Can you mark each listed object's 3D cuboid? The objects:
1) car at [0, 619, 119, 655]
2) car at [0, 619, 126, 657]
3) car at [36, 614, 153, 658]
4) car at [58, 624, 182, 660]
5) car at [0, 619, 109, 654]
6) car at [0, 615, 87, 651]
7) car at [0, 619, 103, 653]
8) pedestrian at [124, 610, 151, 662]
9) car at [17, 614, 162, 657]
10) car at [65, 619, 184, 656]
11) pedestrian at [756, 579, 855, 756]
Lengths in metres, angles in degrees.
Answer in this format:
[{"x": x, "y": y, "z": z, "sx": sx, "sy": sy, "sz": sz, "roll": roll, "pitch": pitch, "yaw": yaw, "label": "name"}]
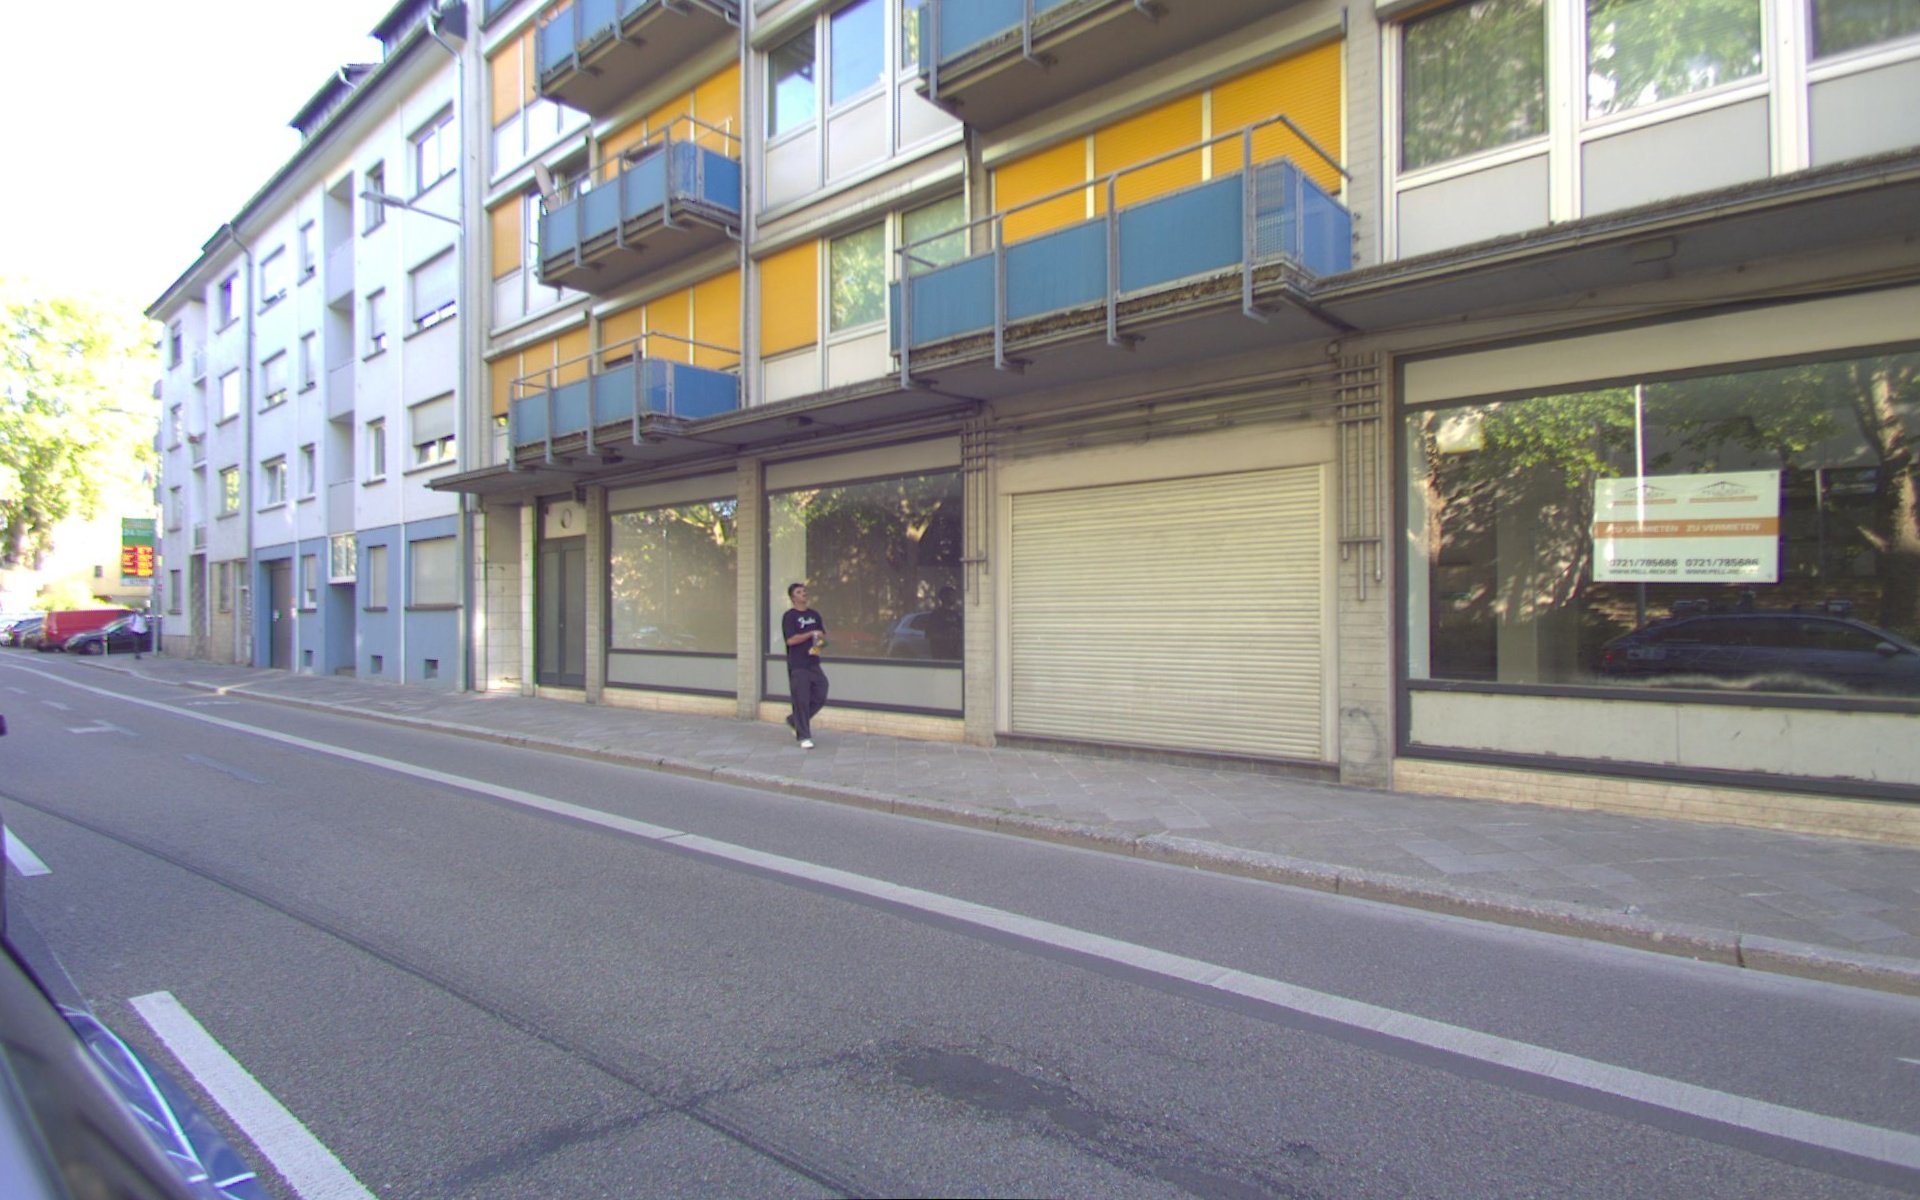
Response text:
[{"x": -52.230, "y": 2.108, "z": 58.721, "sx": 2.159, "sy": 1.952, "sz": 4.990, "roll": -1, "pitch": -1, "yaw": 41, "label": "car"}, {"x": -50.291, "y": 2.085, "z": 56.833, "sx": 2.186, "sy": 1.952, "sz": 5.077, "roll": -1, "pitch": -1, "yaw": 41, "label": "car"}, {"x": -40.584, "y": 1.633, "z": 47.519, "sx": 1.866, "sy": 1.952, "sz": 3.946, "roll": -1, "pitch": -1, "yaw": 41, "label": "car"}, {"x": -36.547, "y": 1.787, "z": 44.080, "sx": 1.742, "sy": 1.431, "sz": 3.946, "roll": -1, "pitch": -1, "yaw": 41, "label": "car"}, {"x": -54.116, "y": 2.129, "z": 60.358, "sx": 2.082, "sy": 1.952, "sz": 4.928, "roll": -1, "pitch": -1, "yaw": 41, "label": "car"}, {"x": -59.338, "y": 2.096, "z": 64.716, "sx": 2.186, "sy": 2.164, "sz": 5.077, "roll": -1, "pitch": -1, "yaw": 41, "label": "car"}, {"x": -55.964, "y": 2.157, "z": 61.989, "sx": 2.314, "sy": 1.952, "sz": 4.978, "roll": -1, "pitch": -1, "yaw": 41, "label": "car"}, {"x": -28.506, "y": 1.240, "z": 35.074, "sx": 0.756, "sy": 1.760, "sz": 0.600, "roll": -1, "pitch": 0, "yaw": 41, "label": "pedestrian"}, {"x": -42.685, "y": 1.700, "z": 49.717, "sx": 2.256, "sy": 1.995, "sz": 5.156, "roll": -1, "pitch": -1, "yaw": 41, "label": "car"}, {"x": -37.871, "y": 1.677, "z": 45.945, "sx": 1.742, "sy": 1.572, "sz": 3.946, "roll": -1, "pitch": -1, "yaw": 41, "label": "car"}, {"x": -1.636, "y": 0.681, "z": 10.710, "sx": 0.793, "sy": 1.785, "sz": 0.655, "roll": -1, "pitch": -1, "yaw": 41, "label": "pedestrian"}]
